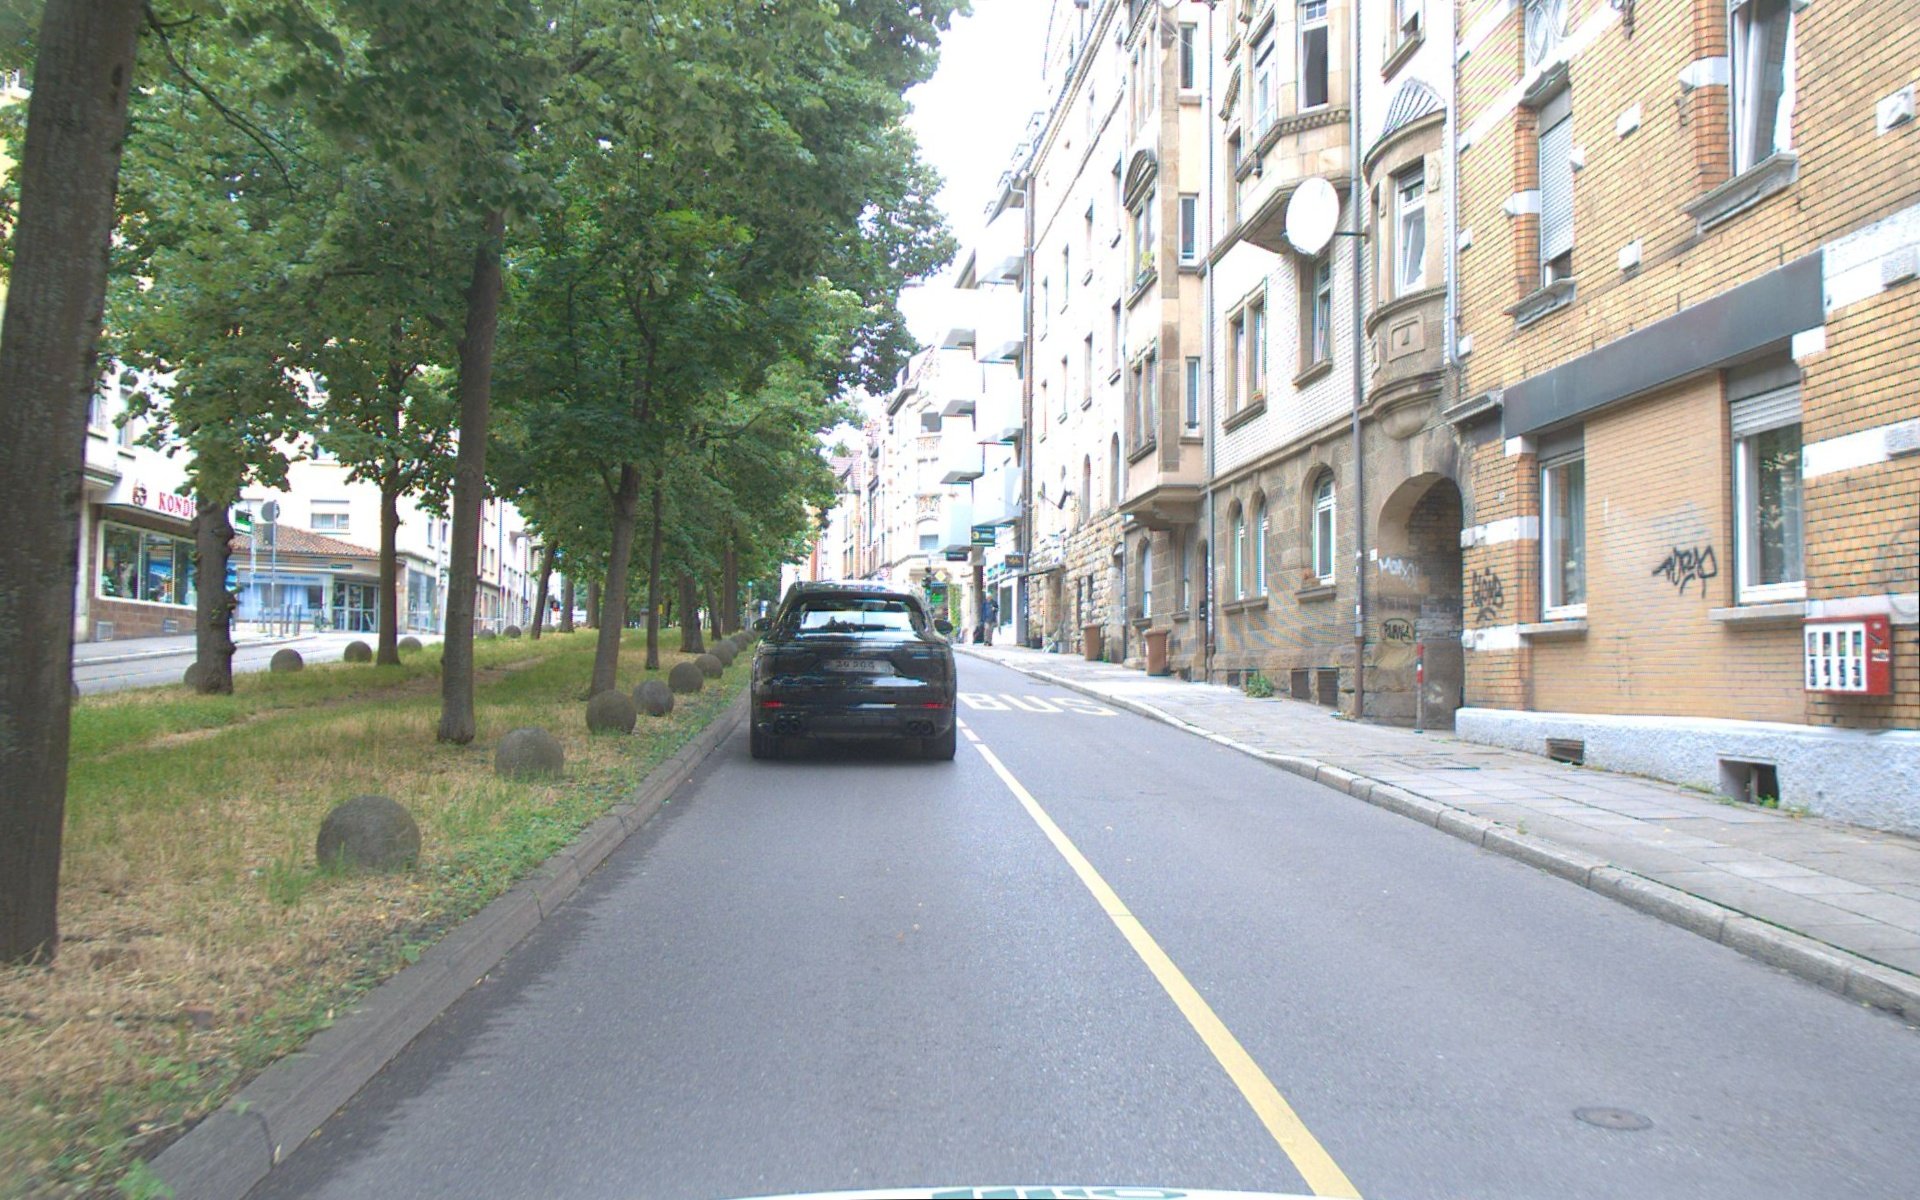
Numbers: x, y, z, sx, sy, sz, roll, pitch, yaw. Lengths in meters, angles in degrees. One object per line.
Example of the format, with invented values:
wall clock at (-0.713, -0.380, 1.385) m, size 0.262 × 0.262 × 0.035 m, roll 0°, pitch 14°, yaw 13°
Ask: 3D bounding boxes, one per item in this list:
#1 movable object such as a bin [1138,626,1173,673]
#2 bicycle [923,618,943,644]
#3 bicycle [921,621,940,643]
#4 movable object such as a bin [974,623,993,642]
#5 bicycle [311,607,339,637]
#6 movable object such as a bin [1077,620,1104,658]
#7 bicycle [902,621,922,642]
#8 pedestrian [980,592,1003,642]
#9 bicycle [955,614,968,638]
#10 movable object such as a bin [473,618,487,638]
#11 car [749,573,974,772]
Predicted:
movable object such as a bin at (3.939, 0.999, 33.331) m, size 0.582 × 0.920 × 0.562 m, roll 1°, pitch -1°, yaw -5°
bicycle at (-1.163, 1.324, 70.746) m, size 0.282 × 1.073 × 1.751 m, roll 2°, pitch -2°, yaw -19°
bicycle at (-1.272, 1.369, 70.307) m, size 0.282 × 0.948 × 1.751 m, roll 2°, pitch -2°, yaw -19°
movable object such as a bin at (0.818, 1.161, 58.725) m, size 0.596 × 0.680 × 0.857 m, roll 0°, pitch -2°, yaw -5°
bicycle at (-24.550, 0.865, 63.935) m, size 0.753 × 1.104 × 2.018 m, roll 3°, pitch -3°, yaw -28°
movable object such as a bin at (3.295, 0.996, 41.797) m, size 0.582 × 0.920 × 0.502 m, roll 1°, pitch -4°, yaw -5°
bicycle at (-2.706, 1.773, 92.899) m, size 0.862 × 1.149 × 2.974 m, roll 1°, pitch -2°, yaw -7°
pedestrian at (1.101, 0.612, 57.903) m, size 0.736 × 1.723 × 0.857 m, roll 0°, pitch -2°, yaw -5°
bicycle at (0.075, 1.415, 90.941) m, size 0.438 × 1.182 × 1.832 m, roll 0°, pitch 4°, yaw -8°
movable object such as a bin at (-26.789, 1.584, 92.281) m, size 0.679 × 1.078 × 0.688 m, roll 2°, pitch -3°, yaw -12°
car at (-0.980, 0.618, 16.642) m, size 1.954 × 1.694 × 3.998 m, roll 1°, pitch 1°, yaw -3°
